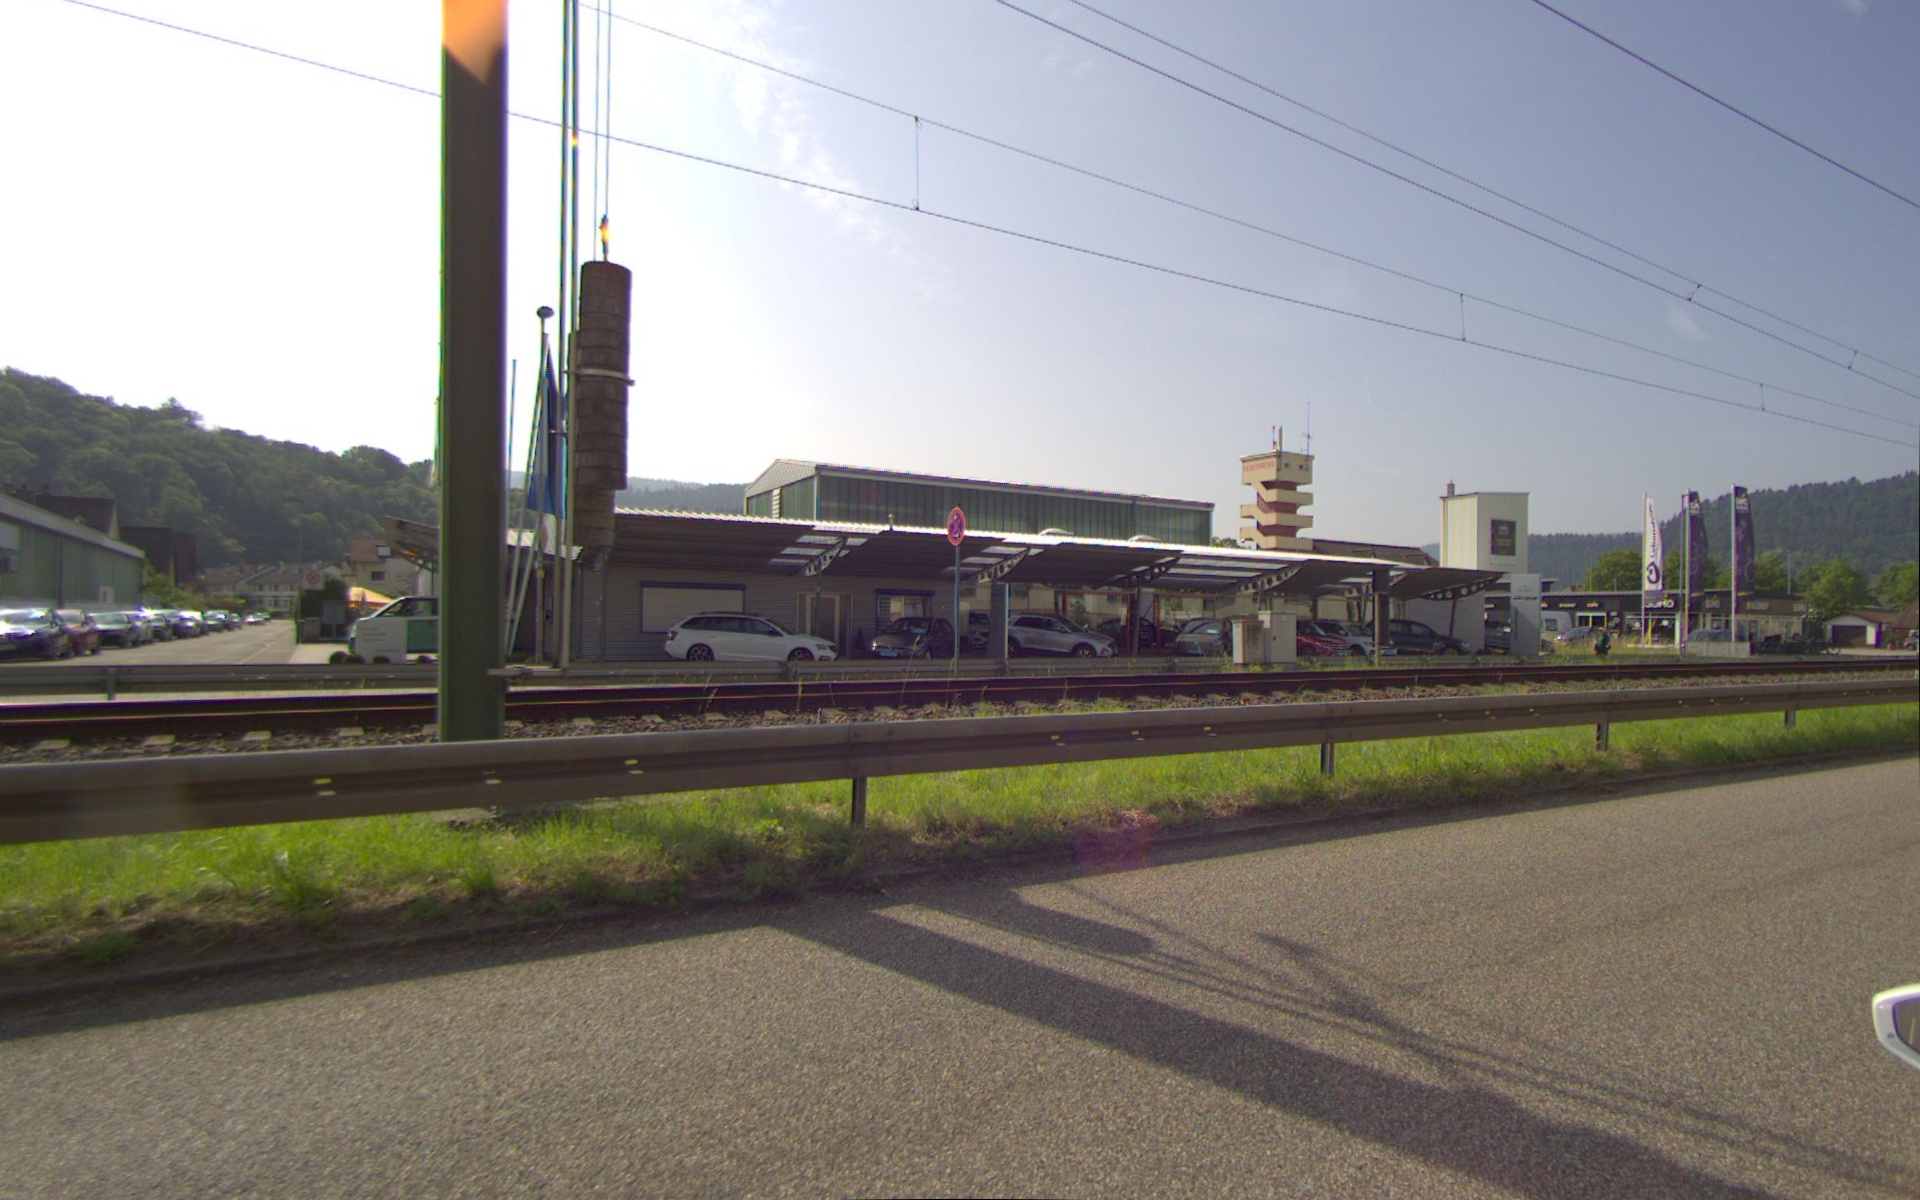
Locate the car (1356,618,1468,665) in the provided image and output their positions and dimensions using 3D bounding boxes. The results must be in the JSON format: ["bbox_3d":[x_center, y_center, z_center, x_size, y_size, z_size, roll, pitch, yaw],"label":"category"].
[{"bbox_3d":[18.835,1.706,42.041,3.950,1.644,1.664,3,2,14],"label":"car"}]

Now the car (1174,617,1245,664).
[{"bbox_3d":[9.033,1.412,36.091,1.812,1.525,4.433,1,-1,23],"label":"car"}]

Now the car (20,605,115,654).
[{"bbox_3d":[-27.805,0.891,31.420,1.602,1.439,3.964,1,-1,-33],"label":"car"}]

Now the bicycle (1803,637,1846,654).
[{"bbox_3d":[59.606,3.115,69.250,0.723,1.145,2.151,2,-2,-37],"label":"bicycle"}]

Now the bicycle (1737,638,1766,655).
[{"bbox_3d":[53.185,3.132,67.501,2.146,1.145,0.725,2,-1,-26],"label":"bicycle"}]

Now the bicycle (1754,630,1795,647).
[{"bbox_3d":[56.343,2.652,69.493,0.723,1.145,2.151,2,-2,-37],"label":"bicycle"}]

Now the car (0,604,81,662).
[{"bbox_3d":[-24.945,0.848,26.838,1.602,1.439,3.964,1,-1,-33],"label":"car"}]

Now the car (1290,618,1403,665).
[{"bbox_3d":[15.145,1.588,39.536,1.644,1.548,3.936,1,2,-30],"label":"car"}]

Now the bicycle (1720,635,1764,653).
[{"bbox_3d":[51.276,2.877,65.896,0.721,1.145,2.159,2,-2,-28],"label":"bicycle"}]

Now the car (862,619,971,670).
[{"bbox_3d":[-1.194,1.274,29.811,1.811,1.360,4.209,1,-1,19],"label":"car"}]

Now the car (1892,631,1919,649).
[{"bbox_3d":[91.305,3.801,95.310,1.689,1.673,3.825,1,-2,-25],"label":"car"}]

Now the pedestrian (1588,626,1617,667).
[{"bbox_3d":[28.438,2.051,44.470,0.825,1.757,0.798,1,-1,-29],"label":"pedestrian"}]

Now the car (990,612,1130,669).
[{"bbox_3d":[3.272,1.277,32.794,4.187,1.548,1.847,3,2,21],"label":"car"}]

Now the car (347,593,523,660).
[{"bbox_3d":[-15.654,0.795,30.069,4.500,1.882,1.889,1,-1,-30],"label":"car"}]

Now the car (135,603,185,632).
[{"bbox_3d":[-41.325,0.881,51.948,1.602,1.439,3.964,1,-1,-33],"label":"car"}]

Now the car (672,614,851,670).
[{"bbox_3d":[-5.270,1.108,27.103,4.434,1.404,1.847,1,-1,0],"label":"car"}]

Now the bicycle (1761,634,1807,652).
[{"bbox_3d":[54.102,2.834,65.956,2.275,1.145,0.731,1,-1,6],"label":"bicycle"}]

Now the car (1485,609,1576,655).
[{"bbox_3d":[36.745,2.074,64.657,6.090,2.667,2.361,4,-2,-31],"label":"car"}]

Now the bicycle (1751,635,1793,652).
[{"bbox_3d":[55.634,2.985,68.861,0.721,1.145,2.159,2,-2,-28],"label":"bicycle"}]

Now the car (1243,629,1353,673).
[{"bbox_3d":[12.769,1.896,38.152,1.485,1.343,3.936,1,2,-30],"label":"car"}]

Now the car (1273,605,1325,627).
[{"bbox_3d":[21.624,1.033,63.954,3.454,1.315,1.442,1,-1,-36],"label":"car"}]

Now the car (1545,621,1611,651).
[{"bbox_3d":[38.255,2.241,62.177,3.955,1.685,1.858,3,-2,-31],"label":"car"}]

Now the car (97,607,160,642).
[{"bbox_3d":[-35.578,1.035,43.070,1.602,1.439,3.964,1,-1,-33],"label":"car"}]

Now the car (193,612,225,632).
[{"bbox_3d":[-55.863,1.620,74.725,1.602,1.439,3.964,1,-1,-33],"label":"car"}]

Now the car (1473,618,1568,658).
[{"bbox_3d":[27.818,1.878,49.980,3.926,1.550,1.522,6,1,27],"label":"car"}]

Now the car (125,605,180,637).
[{"bbox_3d":[-38.273,0.965,47.705,1.602,1.439,3.964,1,-1,-33],"label":"car"}]

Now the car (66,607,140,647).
[{"bbox_3d":[-32.622,1.013,38.337,1.602,1.439,3.964,1,-1,-33],"label":"car"}]

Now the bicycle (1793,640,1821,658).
[{"bbox_3d":[56.675,3.280,67.216,2.148,1.145,0.724,2,-1,-30],"label":"bicycle"}]

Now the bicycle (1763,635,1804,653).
[{"bbox_3d":[57.188,3.062,69.764,0.723,1.145,2.151,2,-2,-37],"label":"bicycle"}]

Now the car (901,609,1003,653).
[{"bbox_3d":[-0.361,1.096,36.805,1.887,1.525,4.141,1,-1,-32],"label":"car"}]
